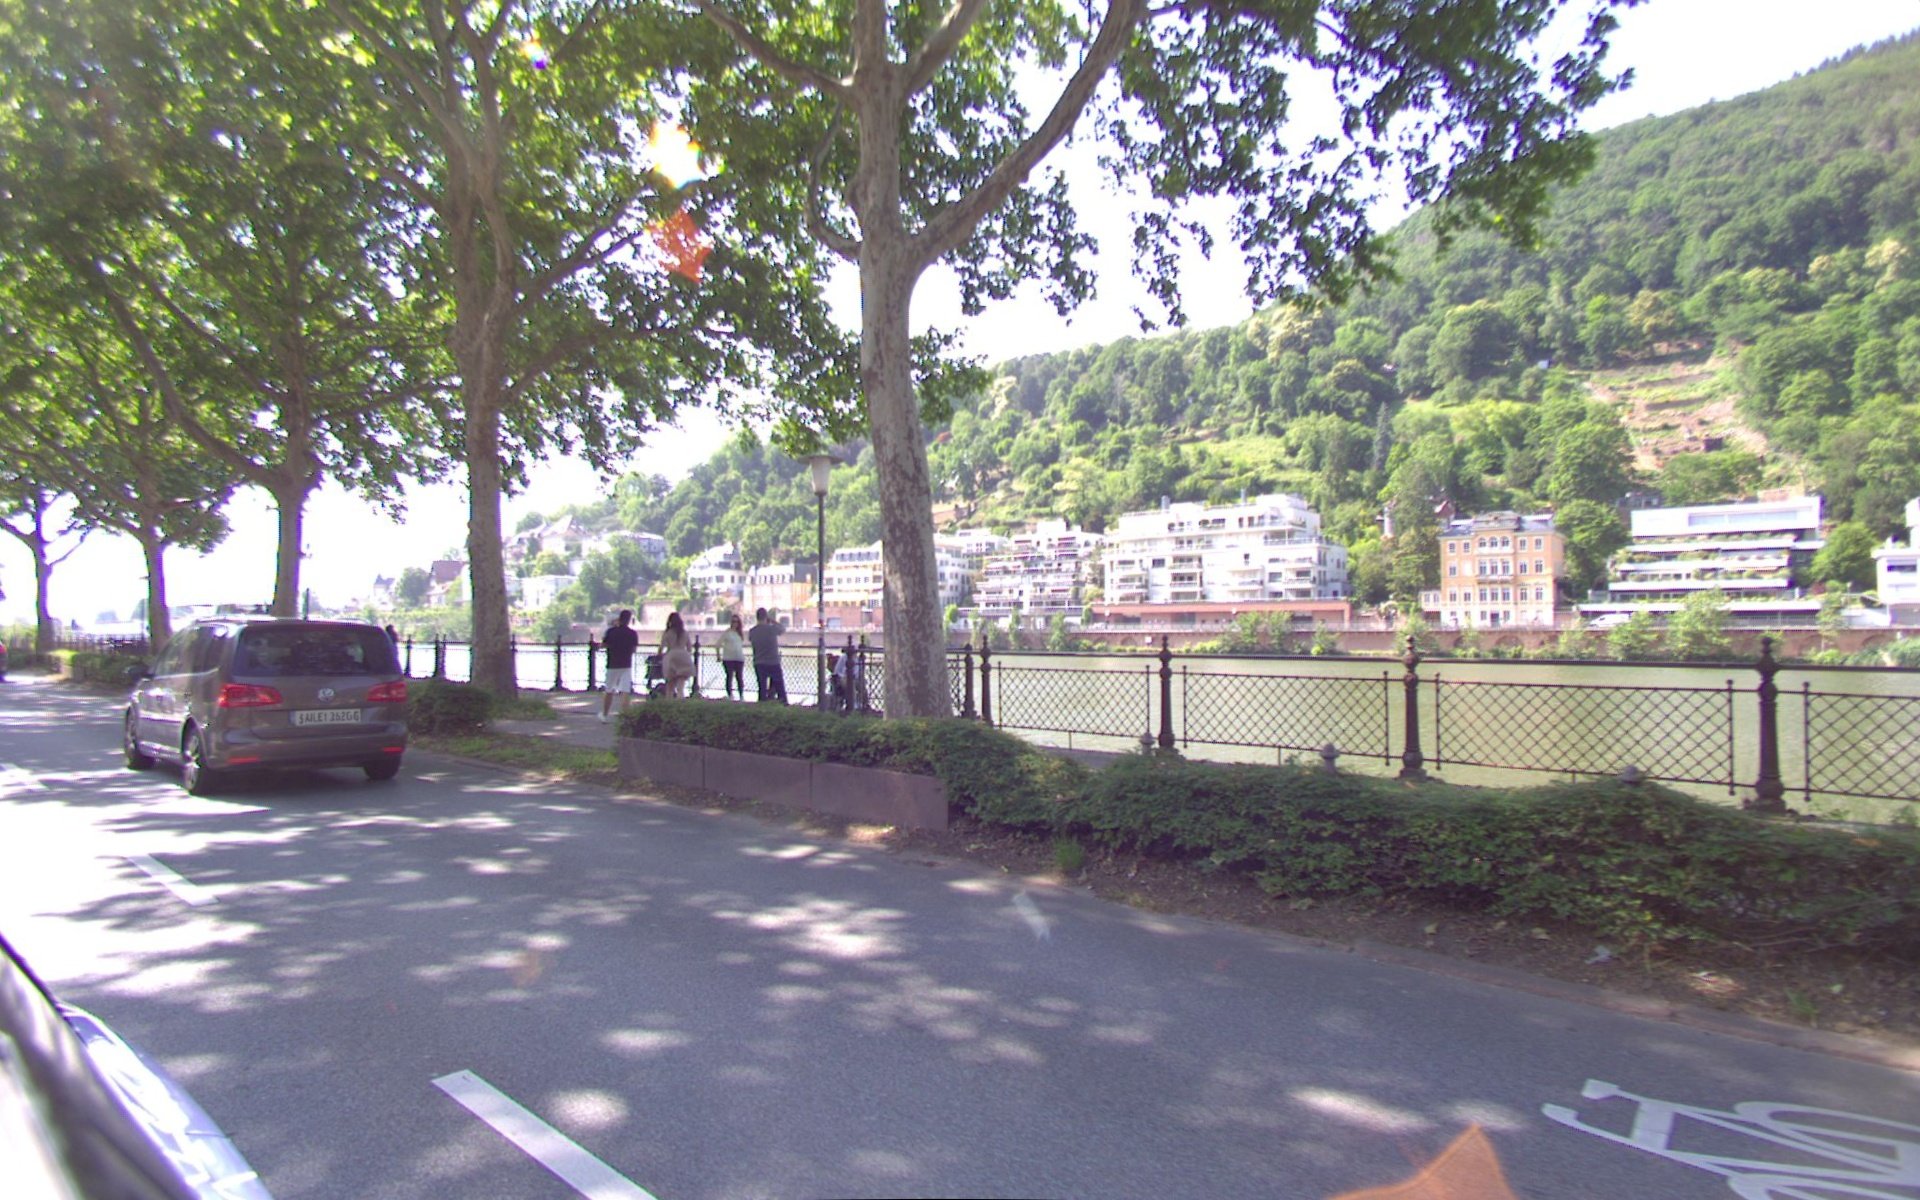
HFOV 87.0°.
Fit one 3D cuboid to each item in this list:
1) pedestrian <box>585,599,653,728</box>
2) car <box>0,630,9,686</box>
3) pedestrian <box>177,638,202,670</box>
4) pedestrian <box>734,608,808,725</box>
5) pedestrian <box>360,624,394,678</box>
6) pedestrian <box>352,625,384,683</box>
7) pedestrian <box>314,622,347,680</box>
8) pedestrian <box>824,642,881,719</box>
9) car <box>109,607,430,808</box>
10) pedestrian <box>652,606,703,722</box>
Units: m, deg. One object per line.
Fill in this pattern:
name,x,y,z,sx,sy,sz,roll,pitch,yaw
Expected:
pedestrian,-5.149,0.949,15.280,0.805,1.884,0.634,-2,-4,42
car,-31.603,1.806,31.900,4.256,1.711,1.857,-2,-3,41
pedestrian,-32.325,2.258,42.439,0.656,1.318,0.695,-2,-4,42
pedestrian,-2.927,1.002,15.641,0.873,1.730,0.686,-2,0,40
pedestrian,-17.796,1.540,30.887,0.705,1.615,0.696,-2,-2,43
pedestrian,-18.714,1.696,32.013,0.705,1.810,0.696,-2,-2,43
pedestrian,-19.360,1.564,31.116,0.705,1.744,0.696,-2,-2,43
pedestrian,-1.723,1.270,16.231,0.695,1.186,0.603,-2,-3,42
car,-7.203,0.971,10.399,4.088,1.660,1.745,-2,-3,42
pedestrian,-4.457,1.000,15.979,0.592,1.782,0.511,-2,-4,42
